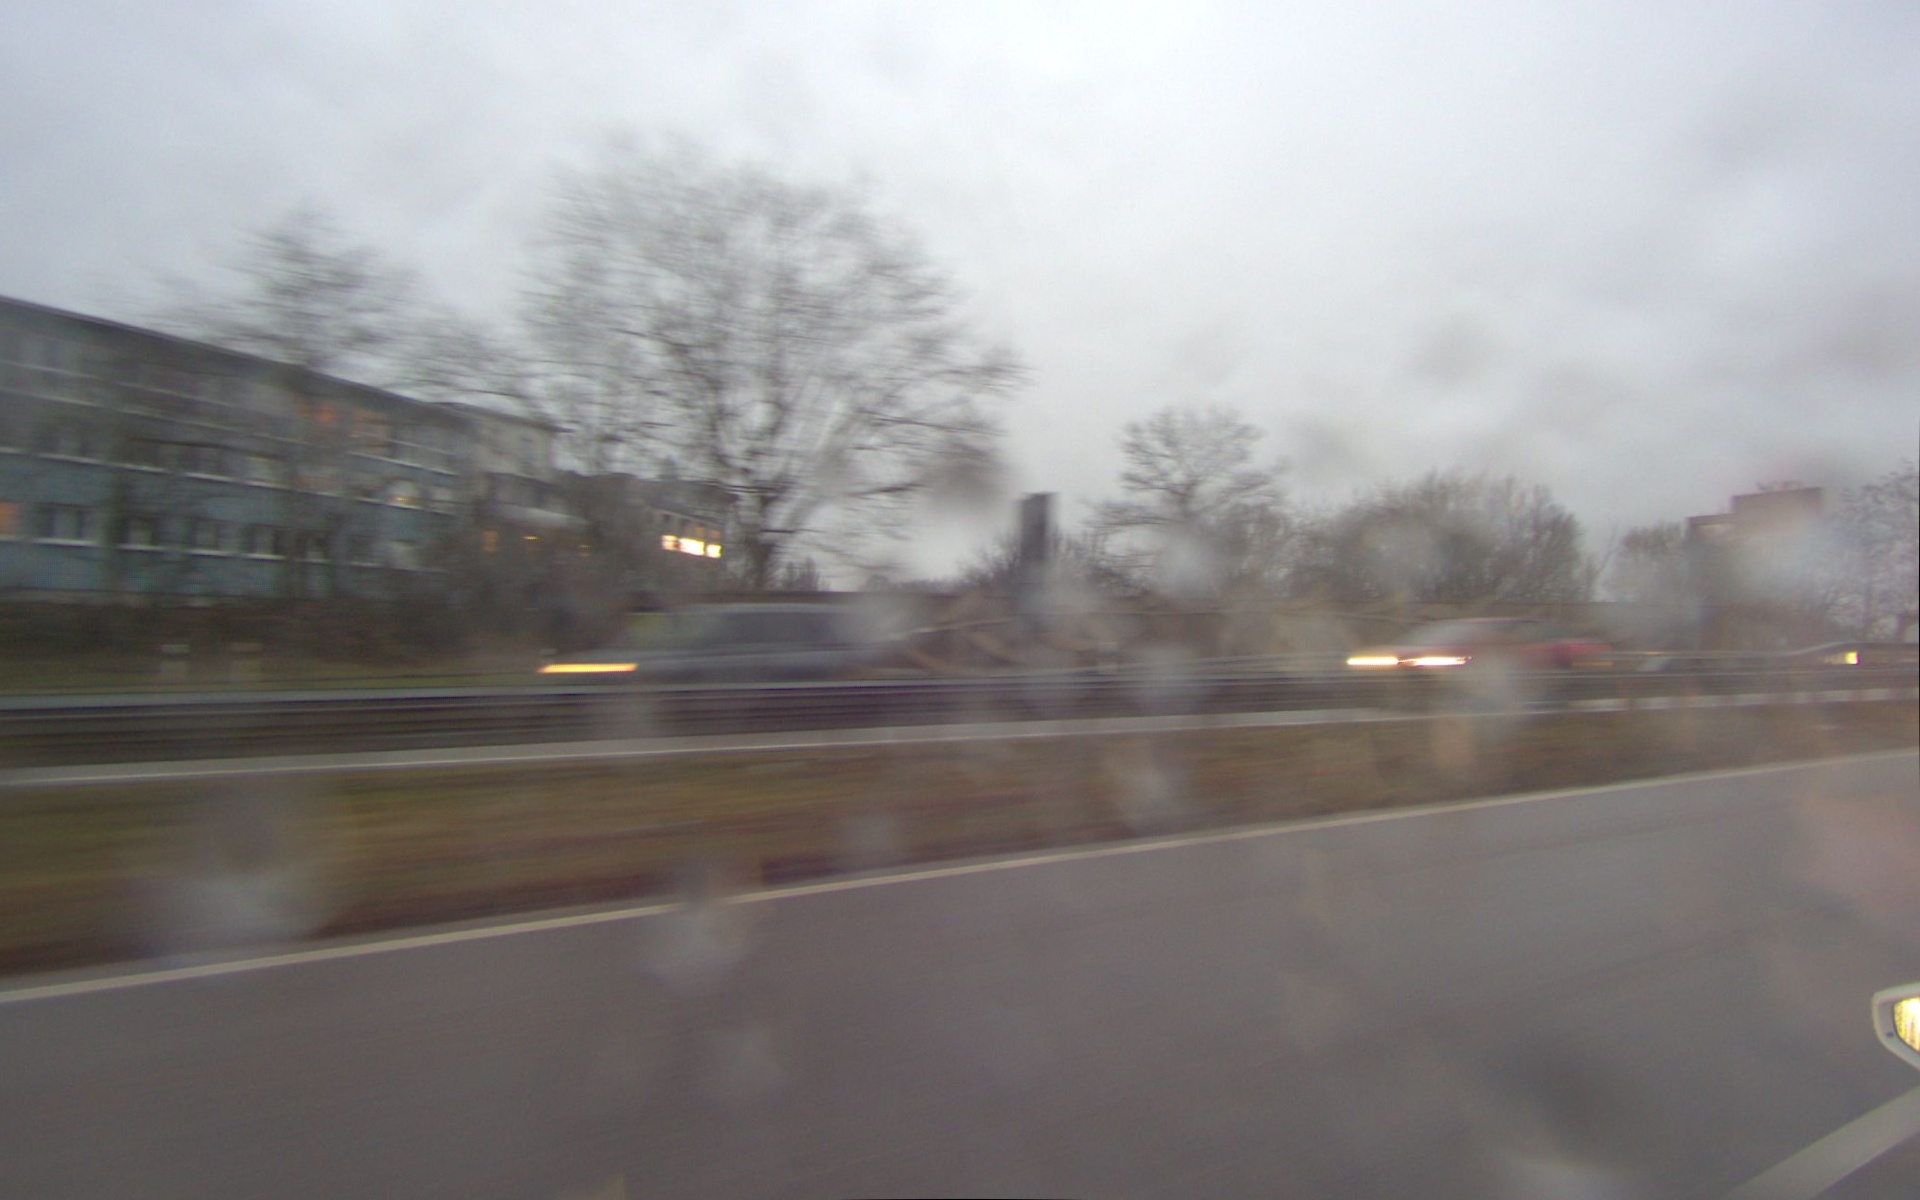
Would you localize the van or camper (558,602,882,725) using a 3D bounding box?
[{"bbox_3d":[-3.812,0.962,16.096,4.816,1.759,1.756,1,-1,-24],"label":"van or camper"}]

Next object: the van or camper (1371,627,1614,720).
[{"bbox_3d":[9.624,1.271,18.095,4.372,1.501,1.523,1,-1,-24],"label":"van or camper"}]
